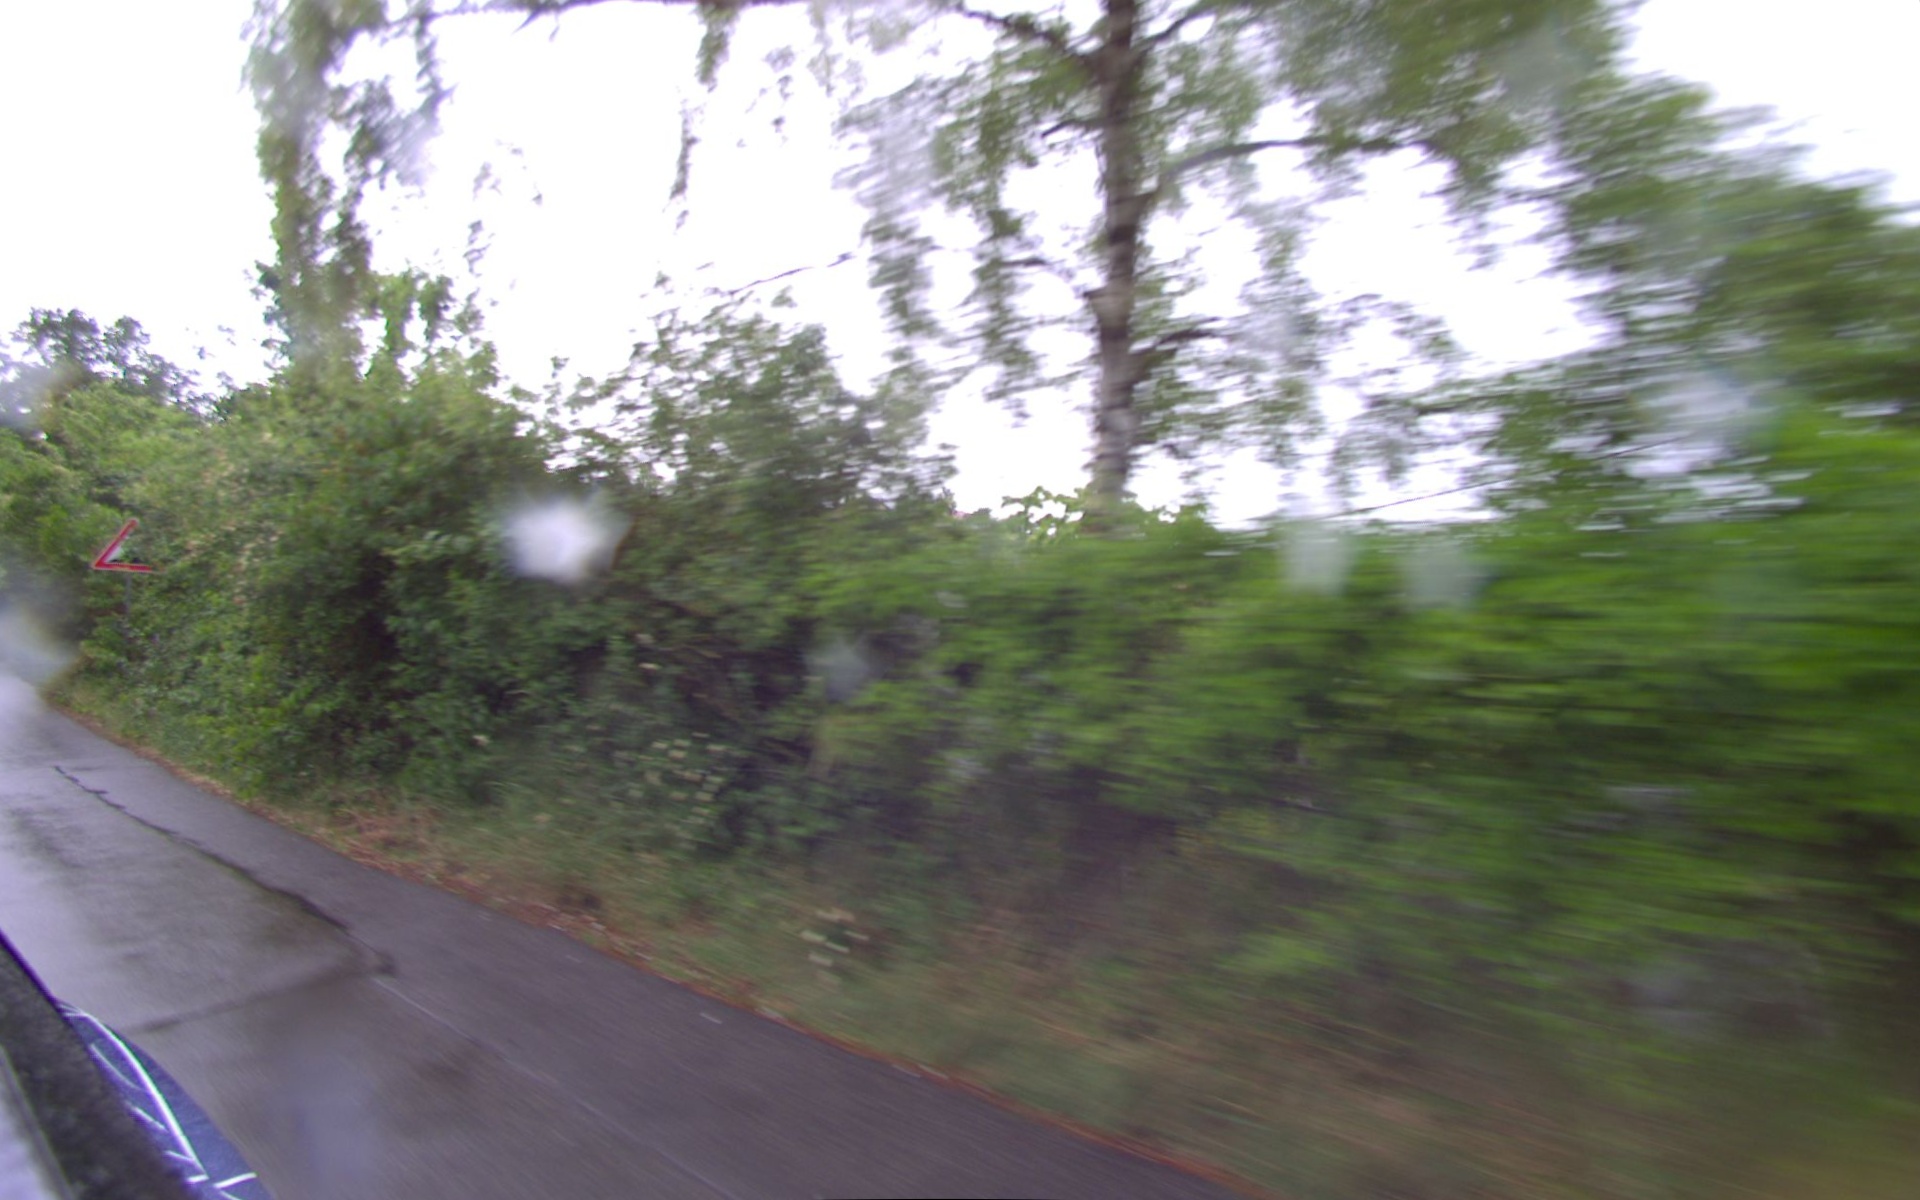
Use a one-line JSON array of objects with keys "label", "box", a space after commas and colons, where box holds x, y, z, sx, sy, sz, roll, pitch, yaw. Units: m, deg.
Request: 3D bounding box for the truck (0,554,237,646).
[{"label": "truck", "box": [-36.666, -0.003, 43.490, 9.116, 3.743, 2.769, -1, 0, -2]}]
